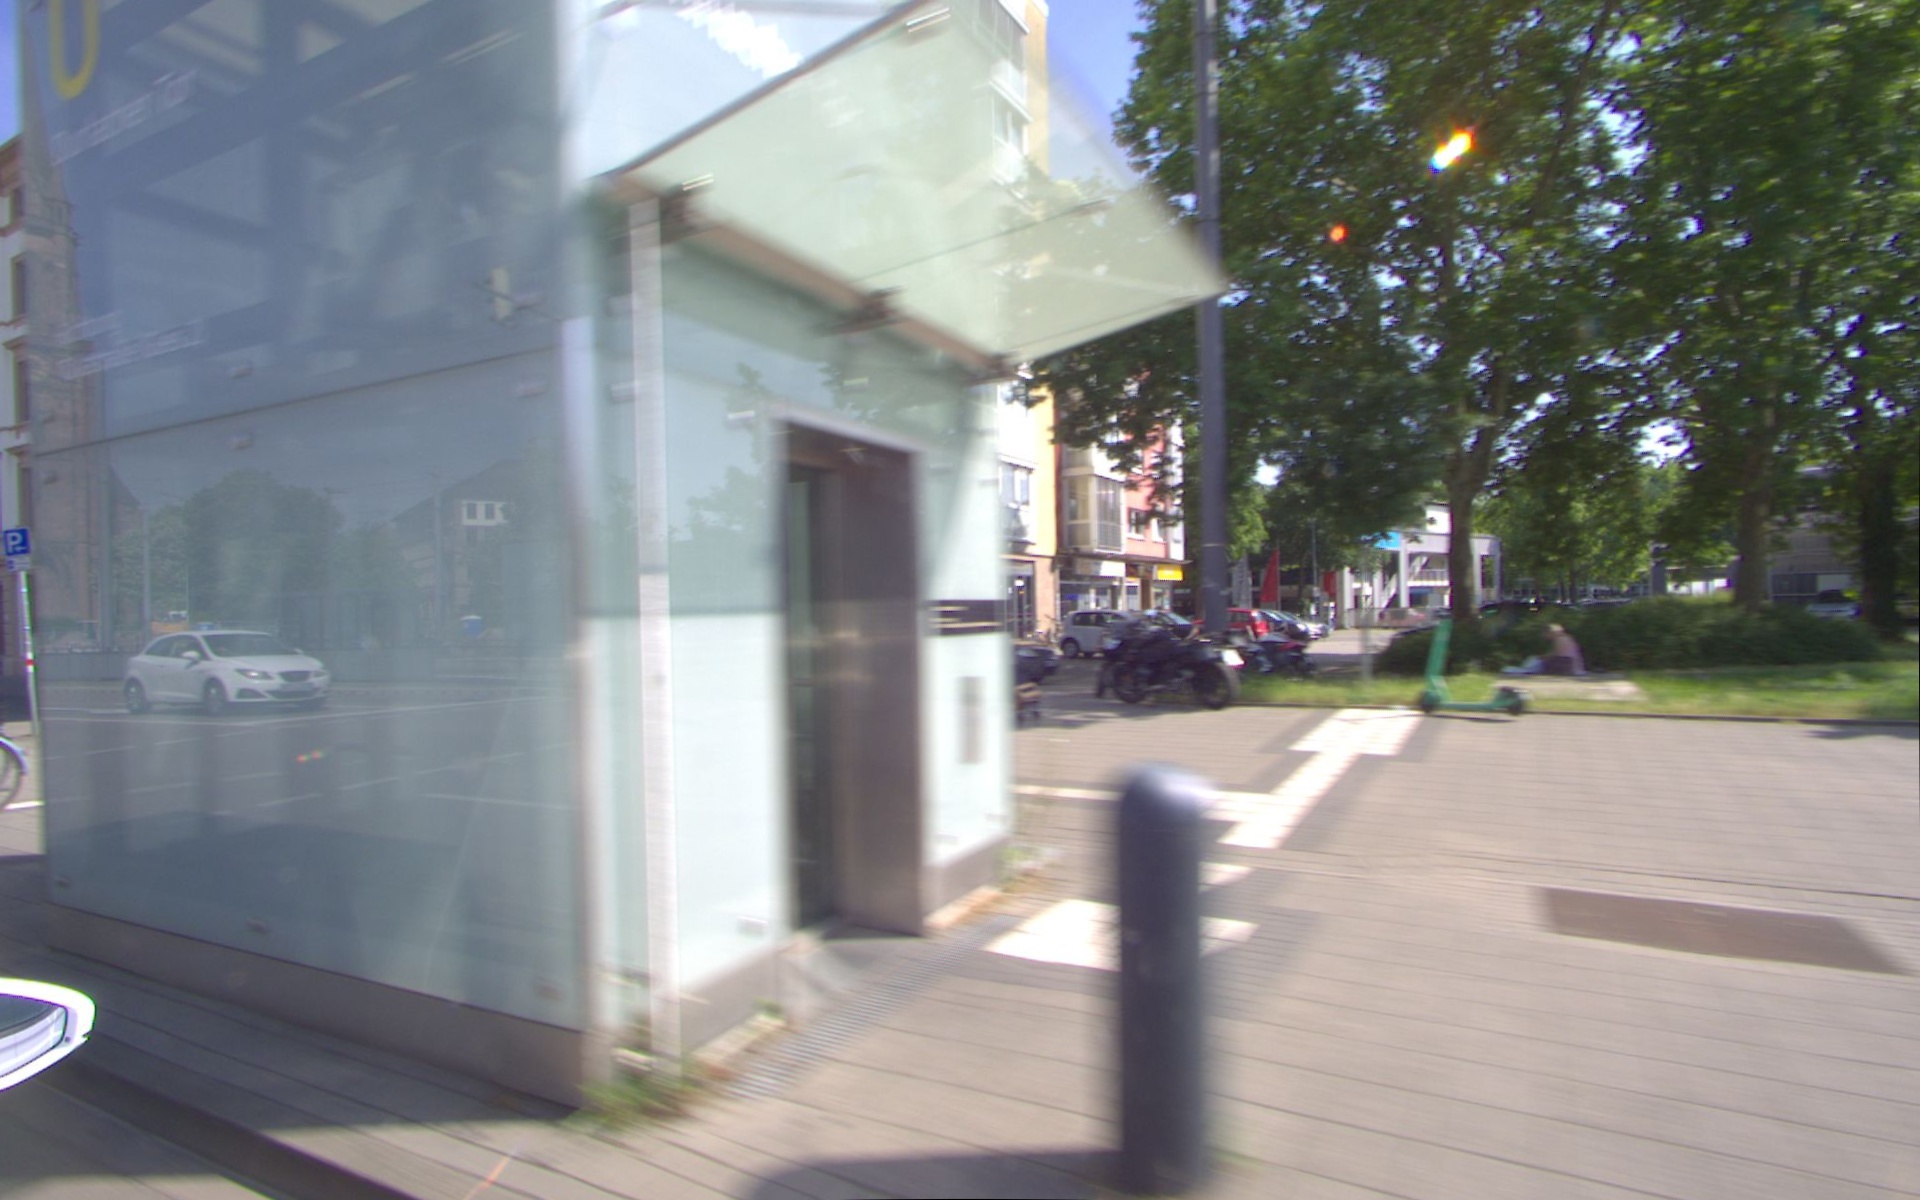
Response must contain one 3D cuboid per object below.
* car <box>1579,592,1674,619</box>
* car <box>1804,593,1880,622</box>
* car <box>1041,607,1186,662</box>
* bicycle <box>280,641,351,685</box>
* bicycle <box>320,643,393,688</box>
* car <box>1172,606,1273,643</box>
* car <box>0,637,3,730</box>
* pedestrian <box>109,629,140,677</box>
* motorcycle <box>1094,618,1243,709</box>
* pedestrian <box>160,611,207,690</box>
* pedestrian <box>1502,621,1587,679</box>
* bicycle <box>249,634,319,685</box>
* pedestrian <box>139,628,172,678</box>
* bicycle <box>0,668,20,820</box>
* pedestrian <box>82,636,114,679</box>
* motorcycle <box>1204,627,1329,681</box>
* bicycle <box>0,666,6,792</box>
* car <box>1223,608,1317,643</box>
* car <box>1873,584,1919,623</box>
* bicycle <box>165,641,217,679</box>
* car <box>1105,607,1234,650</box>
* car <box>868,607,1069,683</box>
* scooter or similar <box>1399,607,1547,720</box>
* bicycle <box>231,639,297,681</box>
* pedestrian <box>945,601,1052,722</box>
[{"bbox_3d":[36.212,0.285,54.466,1.980,1.390,3.961,0,1,-43],"label":"car"},{"bbox_3d":[41.520,0.347,47.123,3.953,1.261,1.984,0,1,-38],"label":"car"},{"bbox_3d":[4.629,0.997,30.287,3.940,1.459,1.881,1,1,31],"label":"car"},{"bbox_3d":[-14.849,1.451,23.056,1.730,0.940,0.581,-2,2,30],"label":"bicycle"},{"bbox_3d":[-13.282,1.422,22.015,1.730,0.928,0.581,-2,1,30],"label":"bicycle"},{"bbox_3d":[10.775,0.965,41.139,3.680,1.358,1.735,1,1,31],"label":"car"},{"bbox_3d":[-15.730,1.223,13.720,1.779,1.458,4.001,0,-3,-9],"label":"car"},{"bbox_3d":[-24.369,1.546,29.208,0.522,1.372,0.524,-1,0,30],"label":"pedestrian"},{"bbox_3d":[2.682,0.783,13.090,0.632,1.076,2.025,-1,0,-34],"label":"motorcycle"},{"bbox_3d":[-17.789,1.156,22.951,0.693,1.768,0.608,-1,0,30],"label":"pedestrian"},{"bbox_3d":[9.603,0.812,16.500,1.158,0.904,0.819,-1,0,28],"label":"pedestrian"},{"bbox_3d":[-15.968,1.397,23.648,1.793,1.110,0.581,-2,3,30],"label":"bicycle"},{"bbox_3d":[-23.039,1.510,28.667,0.637,1.392,0.524,-1,0,30],"label":"pedestrian"},{"bbox_3d":[-8.184,1.120,7.396,1.778,1.145,0.748,0,-1,-42],"label":"bicycle"},{"bbox_3d":[-24.195,1.616,28.112,0.522,1.183,0.524,-1,0,30],"label":"pedestrian"},{"bbox_3d":[5.315,0.921,17.406,1.999,0.853,0.640,-1,0,-9],"label":"motorcycle"},{"bbox_3d":[-9.304,1.164,8.401,0.574,1.145,1.792,-1,-1,24],"label":"bicycle"},{"bbox_3d":[13.864,1.104,44.838,3.680,1.418,1.735,1,1,31],"label":"car"},{"bbox_3d":[43.378,0.168,45.628,3.953,1.706,1.984,0,1,-38],"label":"car"},{"bbox_3d":[-20.848,1.631,27.139,1.753,0.977,0.412,-2,3,30],"label":"bicycle"},{"bbox_3d":[7.119,0.932,34.040,3.940,1.287,1.735,1,1,31],"label":"car"},{"bbox_3d":[0.154,0.955,21.363,4.033,1.489,1.652,-1,-3,31],"label":"car"},{"bbox_3d":[5.535,0.654,10.863,0.510,1.134,1.356,-1,0,-32],"label":"scooter or similar"},{"bbox_3d":[-17.388,1.501,25.008,1.753,0.977,0.581,-2,2,30],"label":"bicycle"},{"bbox_3d":[0.475,0.751,12.360,1.100,1.422,0.654,-2,0,28],"label":"pedestrian"}]
